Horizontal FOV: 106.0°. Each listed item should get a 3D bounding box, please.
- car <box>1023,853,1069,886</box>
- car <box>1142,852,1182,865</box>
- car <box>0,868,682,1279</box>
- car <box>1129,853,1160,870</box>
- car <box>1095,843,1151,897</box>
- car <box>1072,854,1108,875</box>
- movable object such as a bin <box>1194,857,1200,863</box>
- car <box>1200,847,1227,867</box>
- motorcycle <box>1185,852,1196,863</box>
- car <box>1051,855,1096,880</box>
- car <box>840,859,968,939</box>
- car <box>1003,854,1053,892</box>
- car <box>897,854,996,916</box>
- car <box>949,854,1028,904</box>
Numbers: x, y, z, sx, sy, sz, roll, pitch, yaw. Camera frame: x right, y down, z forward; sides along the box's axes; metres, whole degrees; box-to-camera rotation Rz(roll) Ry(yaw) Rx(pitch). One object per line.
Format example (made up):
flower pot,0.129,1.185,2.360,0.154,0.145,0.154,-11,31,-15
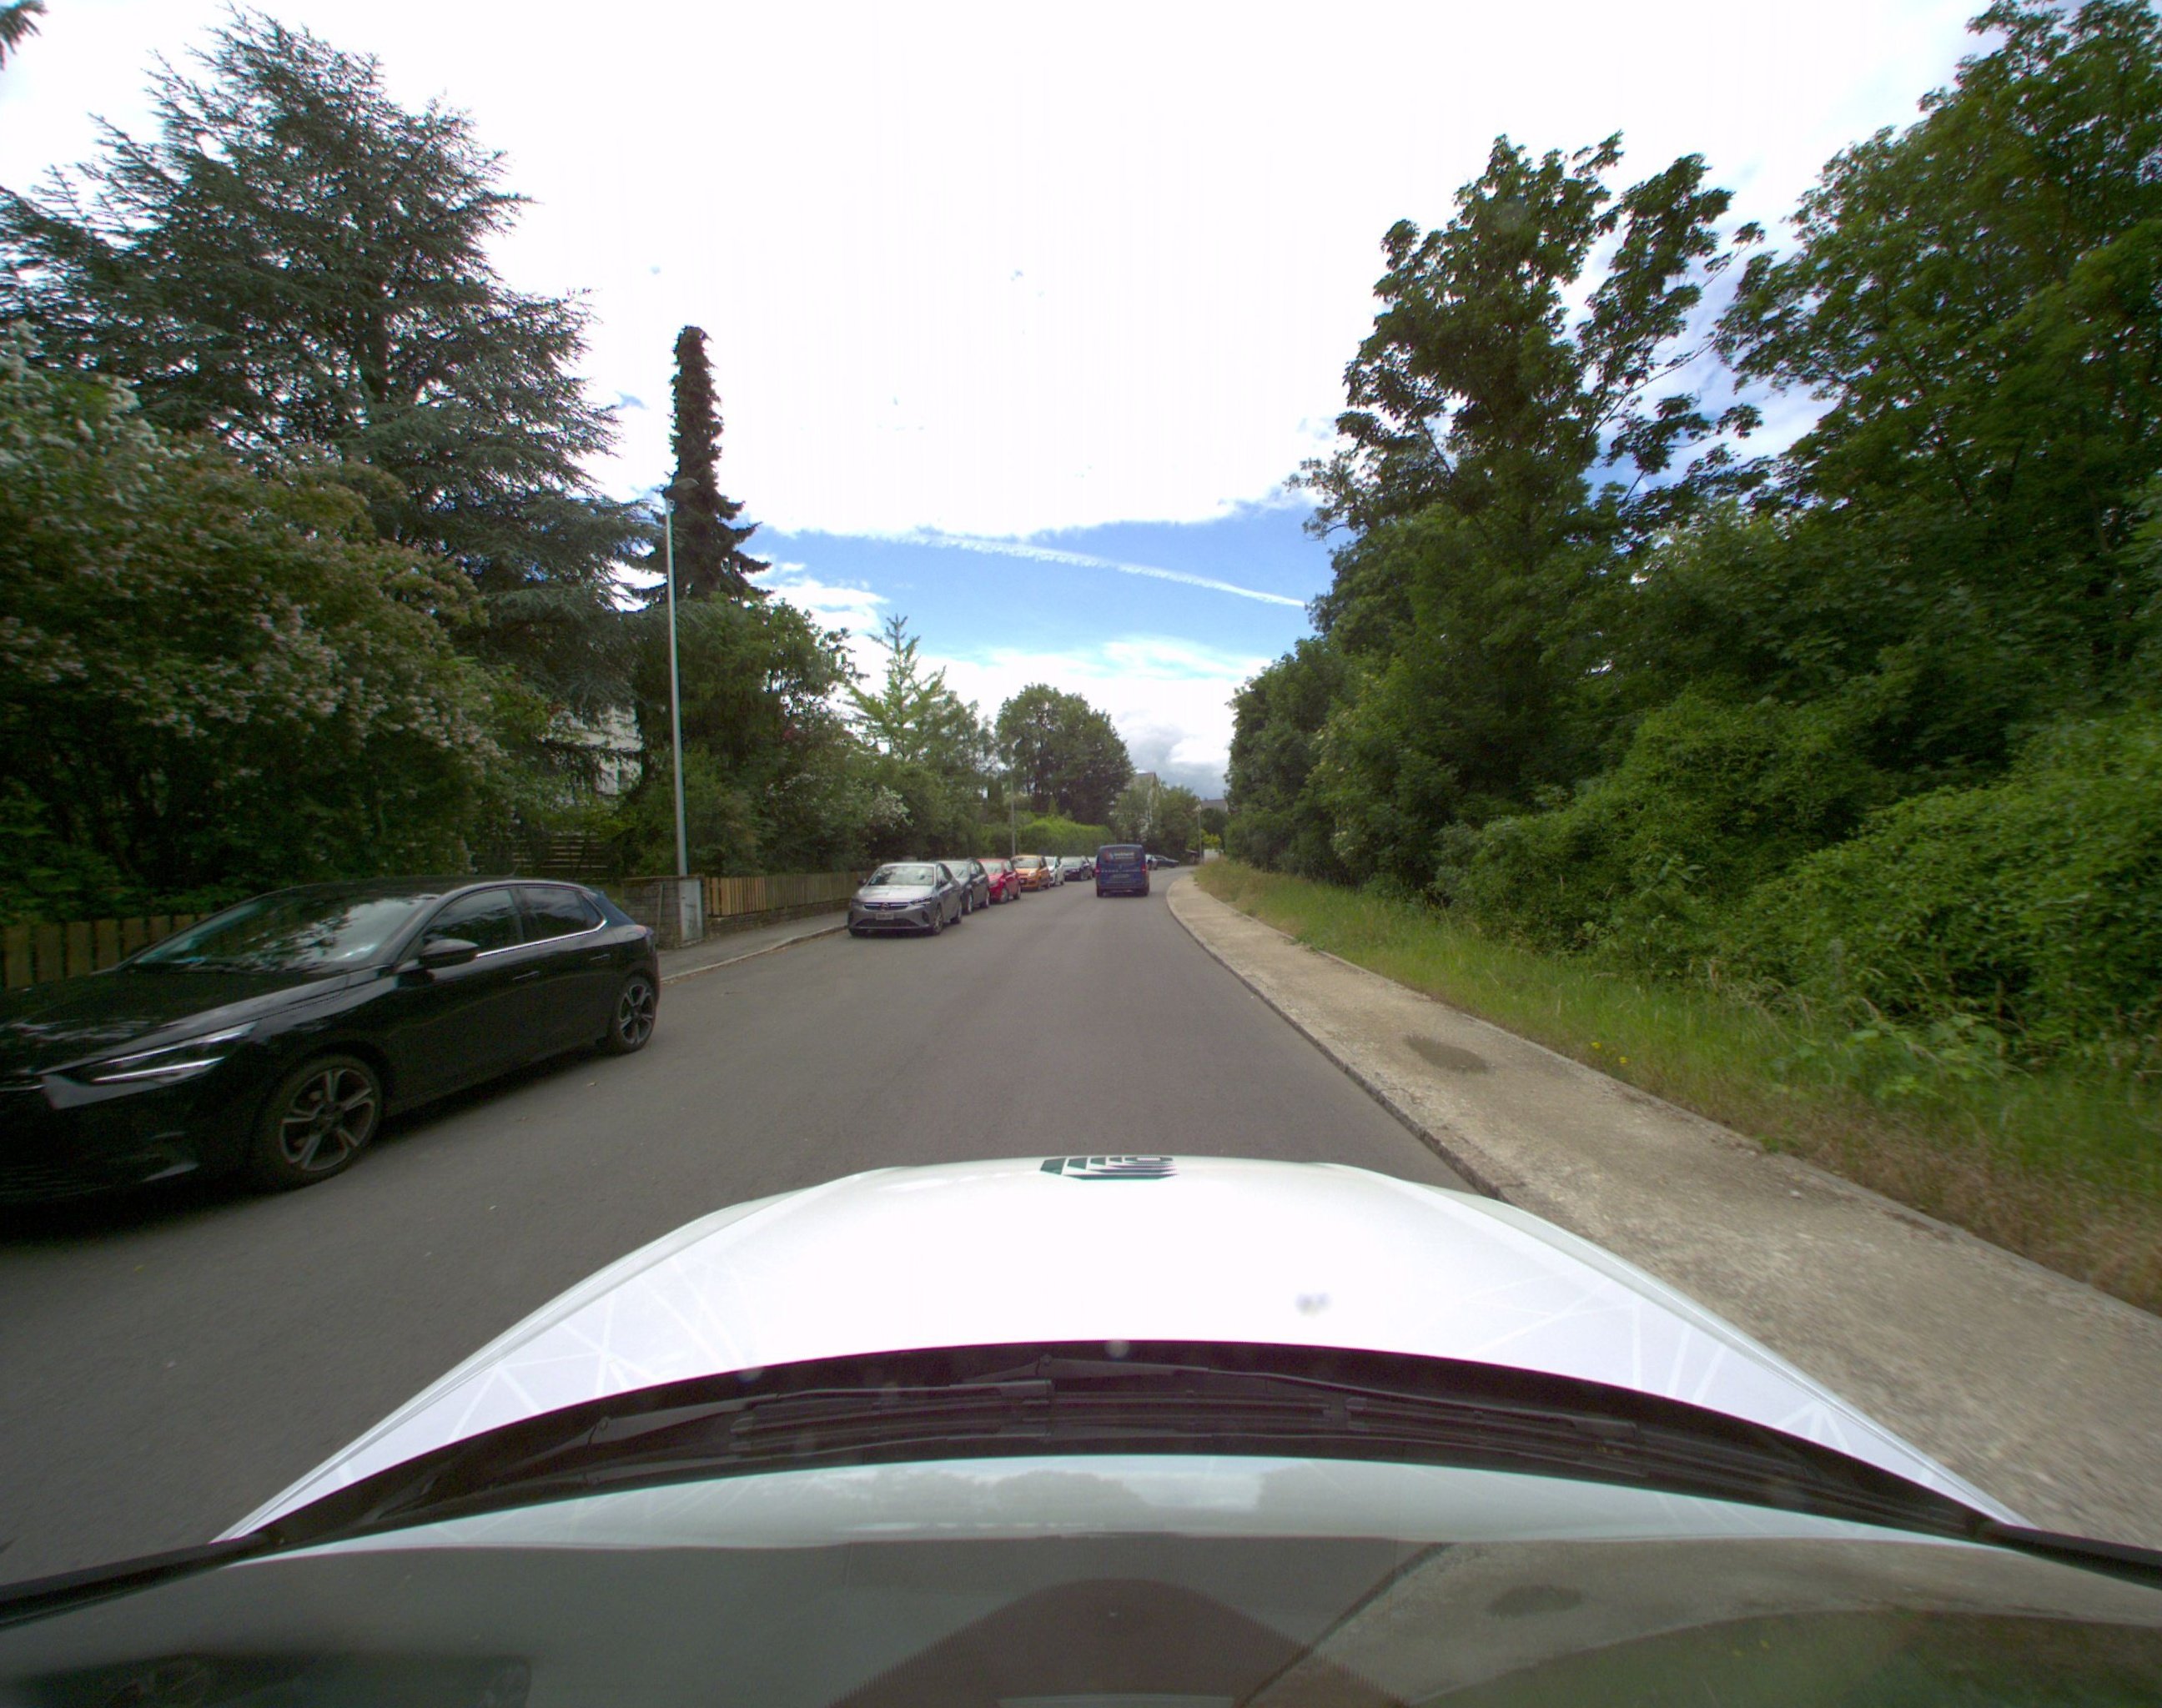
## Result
car,-1.651,0.728,39.835,1.579,1.514,3.598,-1,0,8
car,9.022,0.500,90.501,4.135,1.447,1.748,-1,-1,16
car,-4.376,0.845,5.032,1.701,1.416,4.133,-1,0,1
car,5.690,0.653,72.549,1.817,1.374,4.464,0,0,16
car,1.557,0.549,30.941,1.929,1.880,4.532,-1,0,2
car,0.645,0.681,53.804,1.701,1.341,4.119,0,0,10
movable object such as a bin,16.389,0.831,114.795,0.585,0.909,0.704,-1,-1,25
car,14.032,0.322,85.746,2.190,2.064,6.158,-1,0,14
motorcycle,15.210,0.435,113.021,0.803,1.485,2.911,-1,-1,21
car,-0.355,0.747,47.390,1.707,1.385,4.677,-1,0,11
car,-3.554,0.843,17.104,1.701,1.410,4.161,-1,0,1
car,-2.226,0.775,35.289,1.536,1.514,3.650,-1,0,6
car,-3.603,0.782,22.613,1.699,1.514,4.500,-1,0,4
car,-3.021,0.792,27.453,1.698,1.514,4.371,-1,0,6
